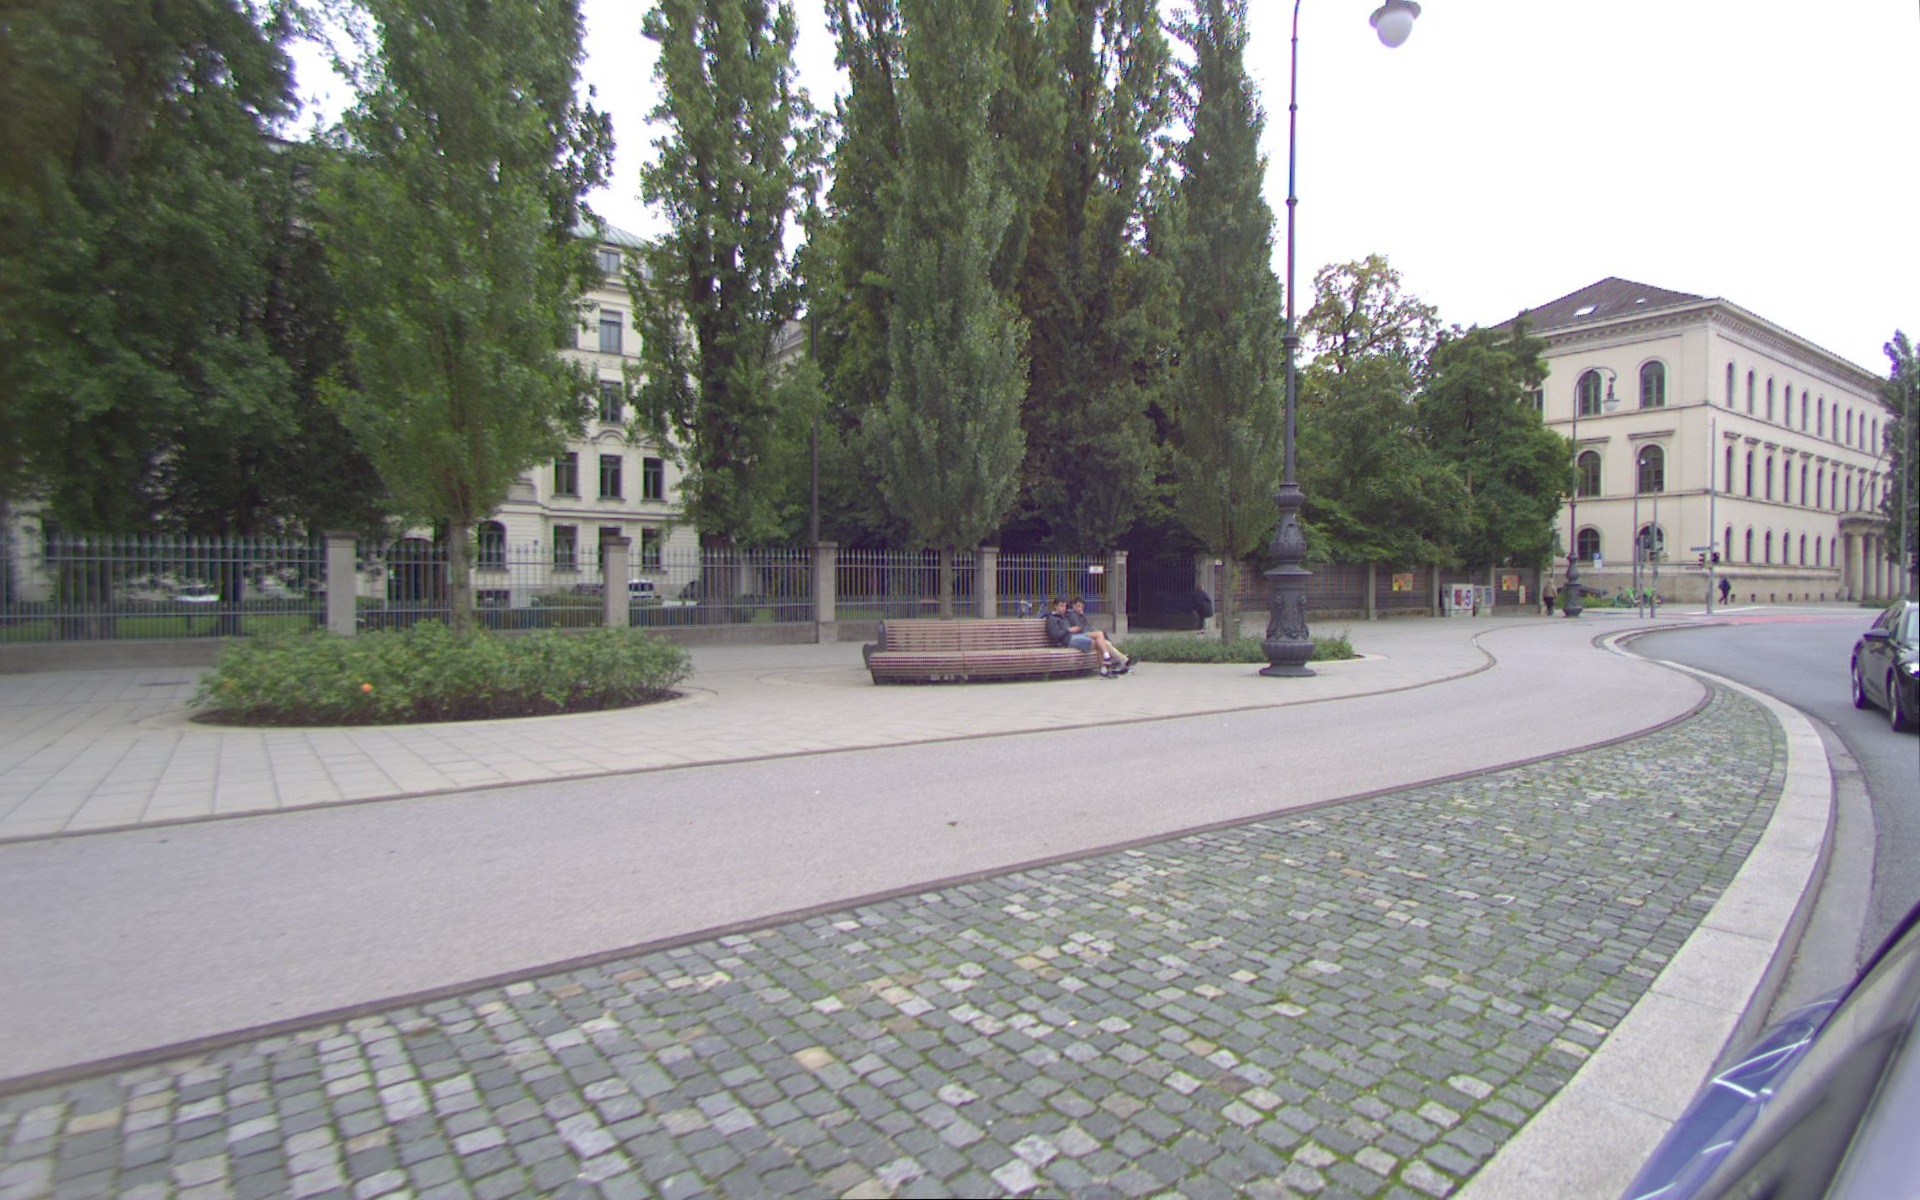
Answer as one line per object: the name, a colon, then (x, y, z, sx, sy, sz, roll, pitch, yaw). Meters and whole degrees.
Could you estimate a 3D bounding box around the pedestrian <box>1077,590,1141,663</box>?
pedestrian: (2.598, 0.450, 17.616, 0.992, 1.229, 0.562, -1, 0, 24)

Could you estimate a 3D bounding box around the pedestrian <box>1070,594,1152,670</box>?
pedestrian: (2.532, 0.519, 16.994, 1.253, 1.231, 0.570, -1, 0, 25)

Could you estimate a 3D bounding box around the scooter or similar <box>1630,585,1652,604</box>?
scooter or similar: (41.113, -0.353, 61.117, 1.625, 1.155, 0.568, -1, 1, -35)

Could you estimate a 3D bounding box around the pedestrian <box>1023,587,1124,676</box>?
pedestrian: (1.732, 0.465, 15.484, 1.319, 1.290, 0.799, -1, 0, 32)

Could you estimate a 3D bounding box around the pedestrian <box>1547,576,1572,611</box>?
pedestrian: (28.162, -0.332, 47.525, 0.802, 1.618, 0.739, 0, 1, -35)

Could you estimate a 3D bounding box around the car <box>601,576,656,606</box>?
car: (-18.491, -0.524, 56.334, 1.961, 1.594, 4.473, -1, 1, -31)

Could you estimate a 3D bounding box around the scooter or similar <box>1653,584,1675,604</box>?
scooter or similar: (42.125, -0.355, 60.535, 1.625, 1.155, 0.568, -1, 1, -35)

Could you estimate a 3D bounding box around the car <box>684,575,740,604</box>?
car: (-14.269, -0.583, 58.146, 1.913, 1.594, 4.270, -1, 1, -31)

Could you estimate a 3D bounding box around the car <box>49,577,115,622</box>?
car: (-36.767, -0.058, 42.448, 1.767, 1.791, 3.999, -1, 1, -36)

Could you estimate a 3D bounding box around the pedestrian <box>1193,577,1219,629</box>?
pedestrian: (7.815, 0.099, 32.132, 0.526, 1.640, 0.591, -1, 0, -36)

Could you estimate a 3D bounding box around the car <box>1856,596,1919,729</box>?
car: (11.956, 0.639, 11.666, 1.911, 1.345, 4.356, -2, 0, 35)

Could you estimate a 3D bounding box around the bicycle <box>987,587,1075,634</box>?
bicycle: (2.059, 0.270, 29.023, 2.949, 1.255, 0.673, -1, 2, -43)

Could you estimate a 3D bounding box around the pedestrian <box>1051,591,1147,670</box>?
pedestrian: (2.255, 0.479, 16.345, 1.355, 1.222, 0.801, -1, 0, 25)

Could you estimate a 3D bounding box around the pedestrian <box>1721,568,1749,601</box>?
pedestrian: (48.185, -0.963, 62.961, 0.983, 2.039, 0.945, 0, 1, -1)

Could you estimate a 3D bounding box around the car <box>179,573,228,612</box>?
car: (-33.397, -0.384, 44.747, 1.619, 1.638, 4.001, 0, 1, -35)
